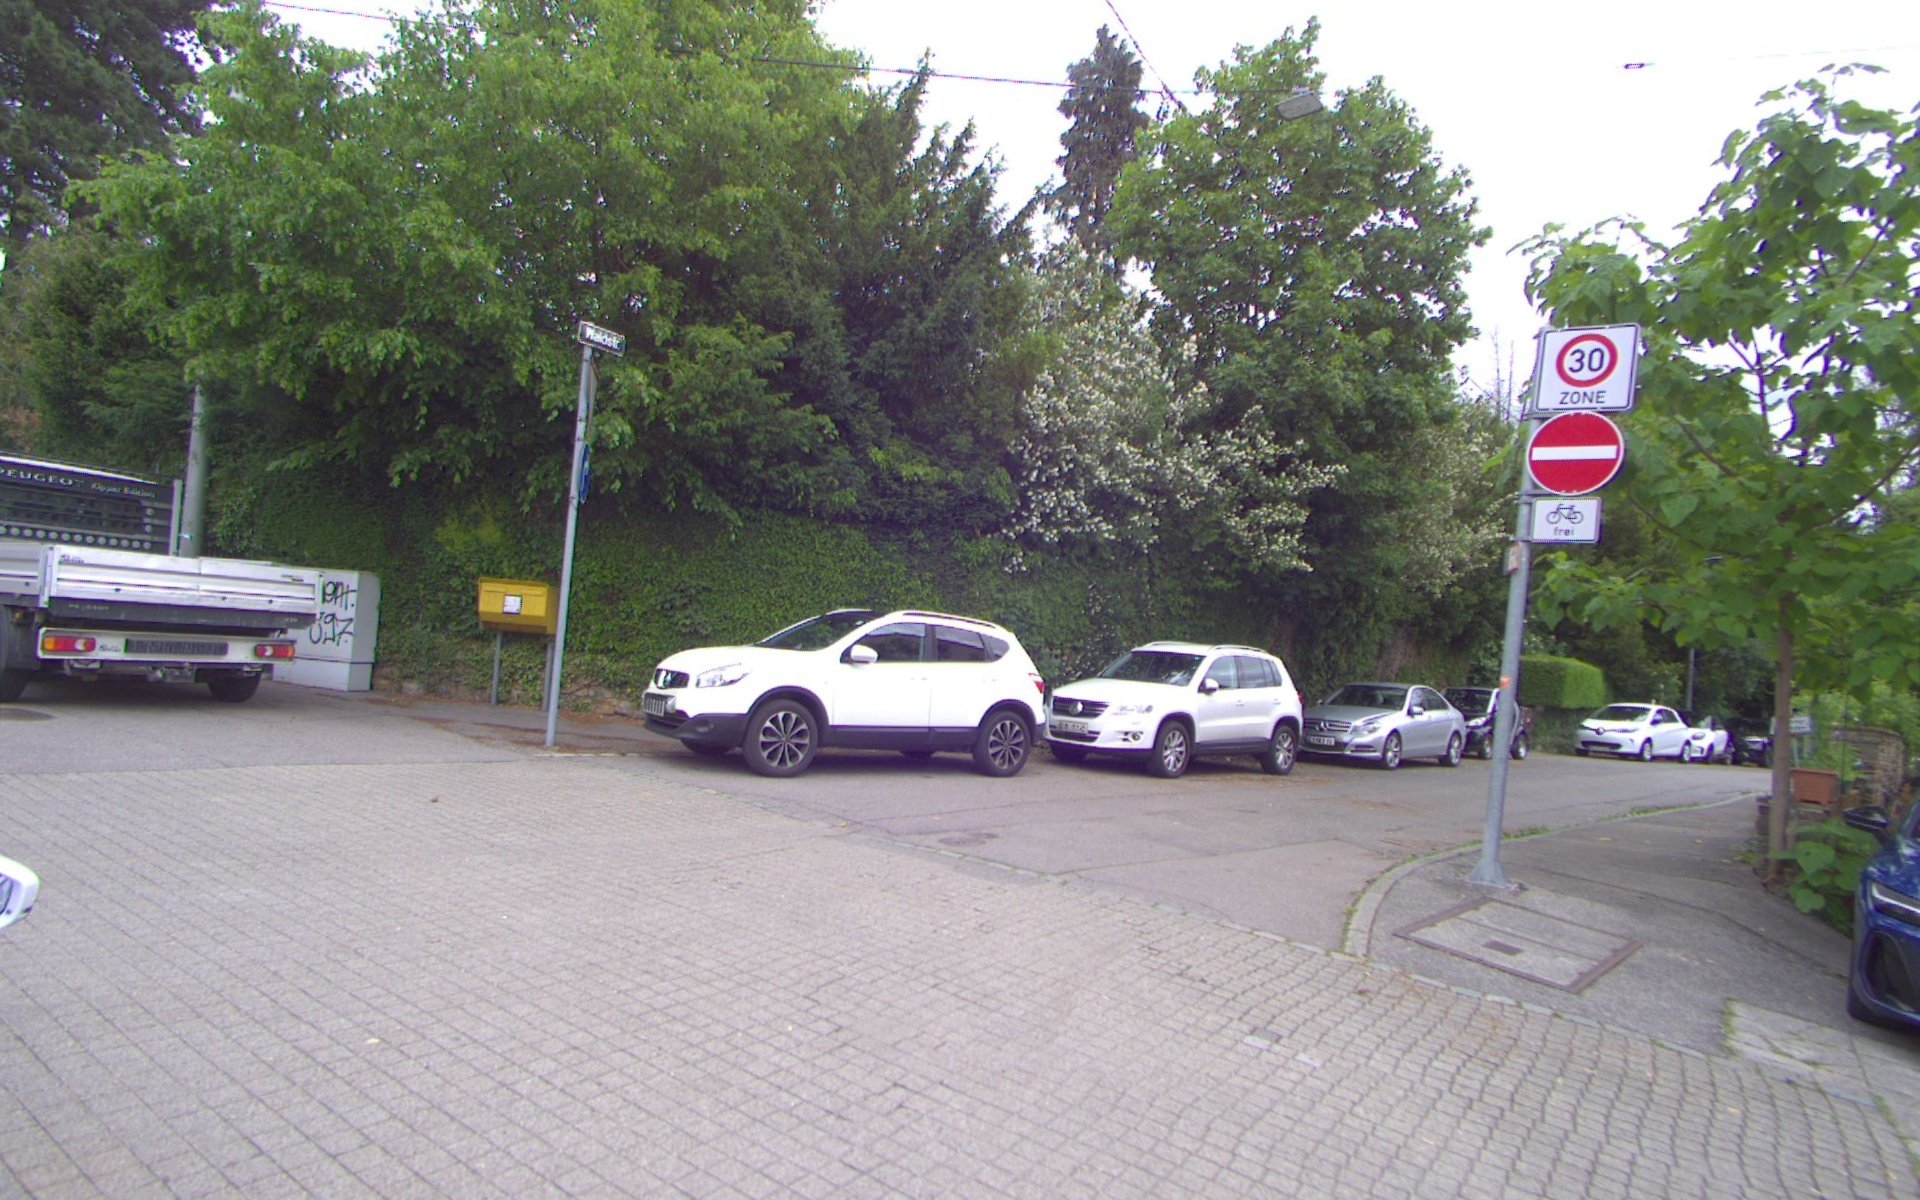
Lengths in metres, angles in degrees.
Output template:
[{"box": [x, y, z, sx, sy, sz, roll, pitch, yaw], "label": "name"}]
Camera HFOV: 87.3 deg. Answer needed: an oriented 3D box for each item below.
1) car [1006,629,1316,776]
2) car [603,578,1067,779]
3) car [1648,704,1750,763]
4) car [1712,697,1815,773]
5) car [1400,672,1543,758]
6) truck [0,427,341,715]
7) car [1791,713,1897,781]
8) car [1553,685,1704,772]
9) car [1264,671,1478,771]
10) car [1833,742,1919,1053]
[{"box": [2.759, 1.371, 13.304, 4.049, 1.484, 1.976, 8, -2, -44], "label": "car"}, {"box": [-1.148, 0.862, 10.296, 4.221, 1.611, 1.969, 8, -4, -38], "label": "car"}, {"box": [22.272, 4.031, 30.293, 3.358, 1.440, 1.655, 8, -2, -40], "label": "car"}, {"box": [25.806, 4.331, 32.276, 3.976, 2.037, 1.976, 8, -2, -44], "label": "car"}, {"box": [11.255, 2.528, 22.085, 2.903, 1.549, 1.845, 8, -2, -44], "label": "car"}, {"box": [-9.079, -0.293, 10.067, 5.782, 2.220, 2.189, 4, -3, 29], "label": "truck"}, {"box": [32.981, 5.482, 37.505, 3.965, 2.036, 1.982, 9, -2, -35], "label": "car"}, {"box": [18.422, 3.536, 27.687, 3.968, 1.726, 1.982, 12, -4, -34], "label": "car"}, {"box": [7.251, 2.111, 17.528, 1.977, 1.461, 4.273, -1, -7, 44], "label": "car"}, {"box": [6.342, 1.632, 5.734, 1.813, 1.342, 4.488, 5, -2, 43], "label": "car"}]
